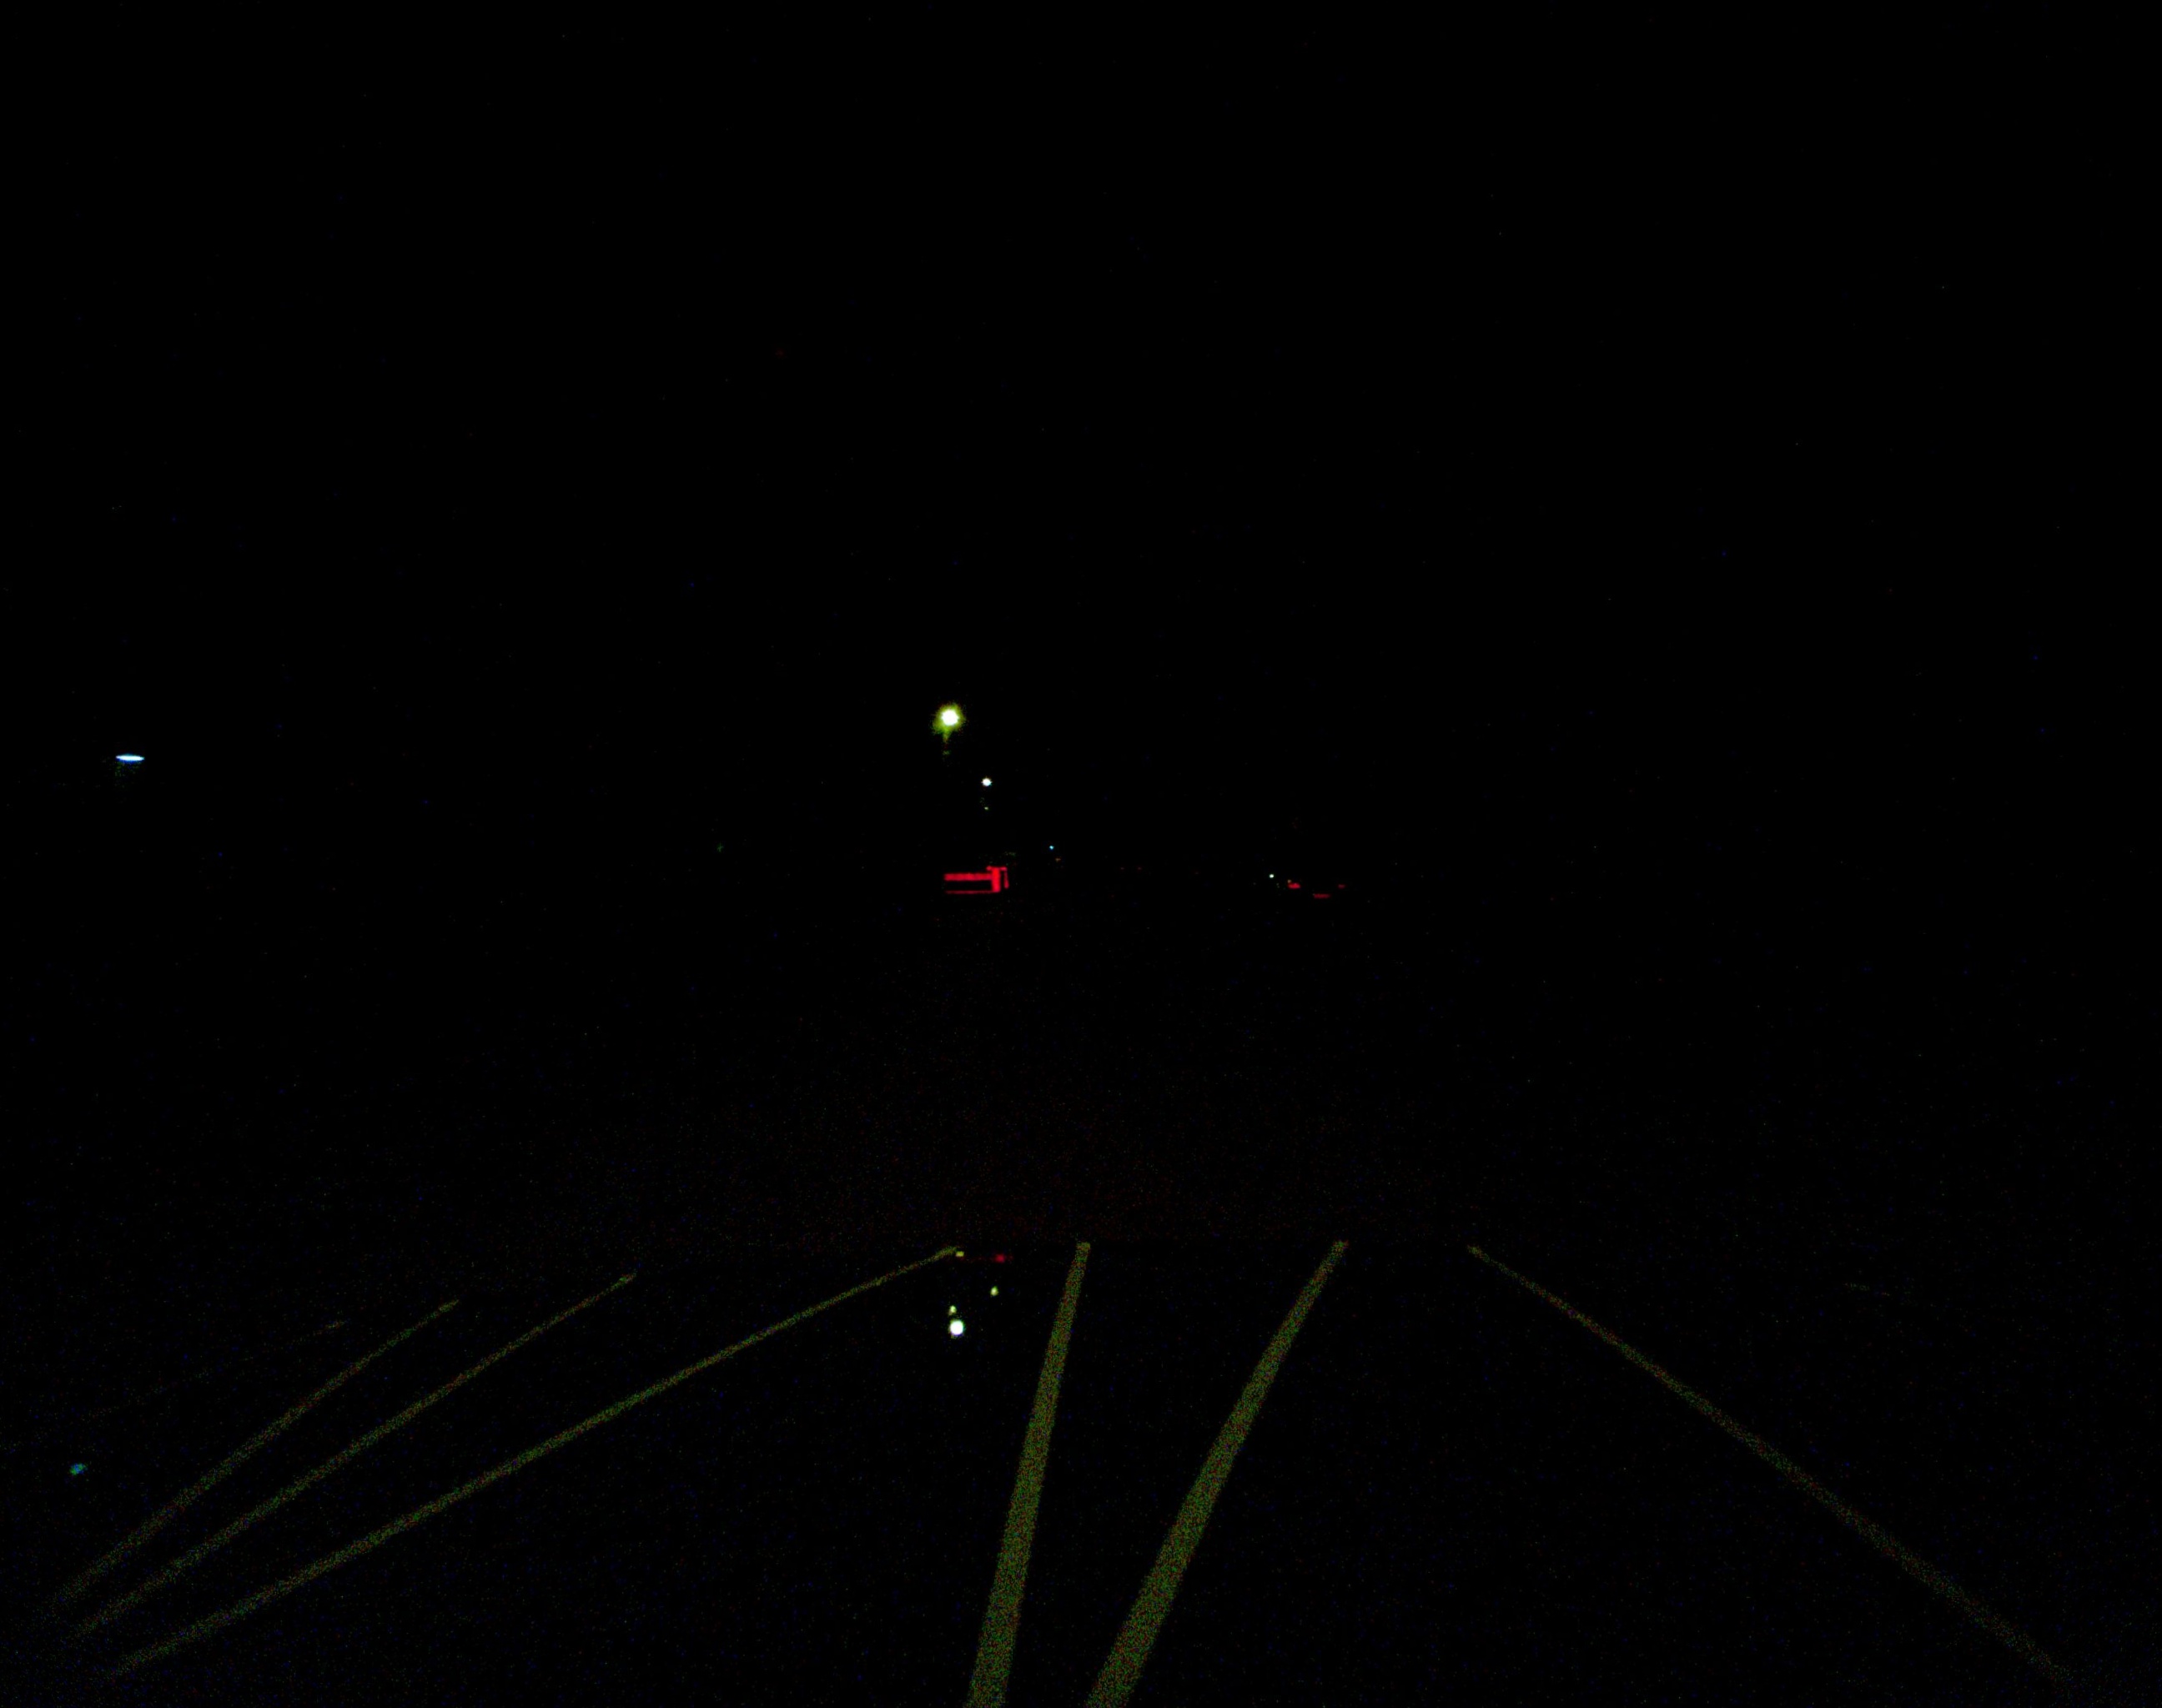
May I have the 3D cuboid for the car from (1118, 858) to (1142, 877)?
[{"bbox_3d":[3.944,1.065,62.272,1.759,1.517,4.322,0,0,1],"label":"car"}]

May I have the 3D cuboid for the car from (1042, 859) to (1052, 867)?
[{"bbox_3d":[-7.080,1.965,158.773,1.863,1.630,3.998,1,0,-6],"label":"car"}]

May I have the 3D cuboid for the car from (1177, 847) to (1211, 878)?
[{"bbox_3d":[8.930,0.690,60.478,1.998,2.308,4.966,2,0,1],"label":"car"}]

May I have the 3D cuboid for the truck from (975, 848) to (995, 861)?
[{"bbox_3d":[-20.676,0.060,163.218,2.003,2.767,7.228,0,0,-27],"label":"truck"}]

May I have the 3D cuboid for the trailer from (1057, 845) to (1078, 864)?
[{"bbox_3d":[-2.050,0.088,114.165,2.213,2.779,4.610,0,0,-14],"label":"trailer"}]

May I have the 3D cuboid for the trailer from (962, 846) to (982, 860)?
[{"bbox_3d":[-24.557,-0.145,170.850,2.494,3.054,7.937,0,0,-24],"label":"trailer"}]

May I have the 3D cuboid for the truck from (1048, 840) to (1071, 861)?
[{"bbox_3d":[-3.479,-0.568,120.930,2.382,3.224,7.223,0,0,-13],"label":"truck"}]

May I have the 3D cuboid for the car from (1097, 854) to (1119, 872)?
[{"bbox_3d":[2.823,0.902,80.914,1.834,1.806,4.836,0,0,-4],"label":"car"}]

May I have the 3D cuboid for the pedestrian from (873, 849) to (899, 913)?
[{"bbox_3d":[-5.683,0.770,22.184,0.572,1.842,0.820,0,0,-2],"label":"pedestrian"}]

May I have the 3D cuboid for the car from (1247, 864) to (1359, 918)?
[{"bbox_3d":[6.439,1.033,22.610,1.916,1.395,4.337,0,0,-2],"label":"car"}]

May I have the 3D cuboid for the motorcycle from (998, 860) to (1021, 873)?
[{"bbox_3d":[-6.992,1.226,74.600,2.180,1.177,0.770,-1,1,28],"label":"motorcycle"}]

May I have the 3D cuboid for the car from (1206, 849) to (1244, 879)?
[{"bbox_3d":[11.460,0.766,60.958,2.213,2.308,4.624,0,0,1],"label":"car"}]

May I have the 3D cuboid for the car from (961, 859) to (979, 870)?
[{"bbox_3d":[-20.866,1.947,143.015,2.002,2.002,5.345,-2,0,-22],"label":"car"}]

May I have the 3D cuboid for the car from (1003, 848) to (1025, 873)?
[{"bbox_3d":[-6.907,0.665,78.789,2.026,2.512,6.049,-1,0,-4],"label":"car"}]

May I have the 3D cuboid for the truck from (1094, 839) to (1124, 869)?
[{"bbox_3d":[3.173,0.018,87.630,2.551,3.261,7.309,0,0,-4],"label":"truck"}]

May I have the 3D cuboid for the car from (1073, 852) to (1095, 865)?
[{"bbox_3d":[0.385,0.610,102.800,2.001,1.761,4.686,0,0,-13],"label":"car"}]

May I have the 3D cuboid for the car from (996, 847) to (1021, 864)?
[{"bbox_3d":[-14.357,0.241,150.422,2.393,3.224,7.215,0,0,-27],"label":"car"}]

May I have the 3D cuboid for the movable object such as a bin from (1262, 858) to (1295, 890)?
[{"bbox_3d":[9.261,0.944,35.645,1.168,1.487,1.065,0,0,-6],"label":"movable object such as a bin"}]

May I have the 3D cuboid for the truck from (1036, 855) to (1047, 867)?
[{"bbox_3d":[-8.782,1.482,167.423,2.139,2.597,7.096,1,0,-4],"label":"truck"}]
